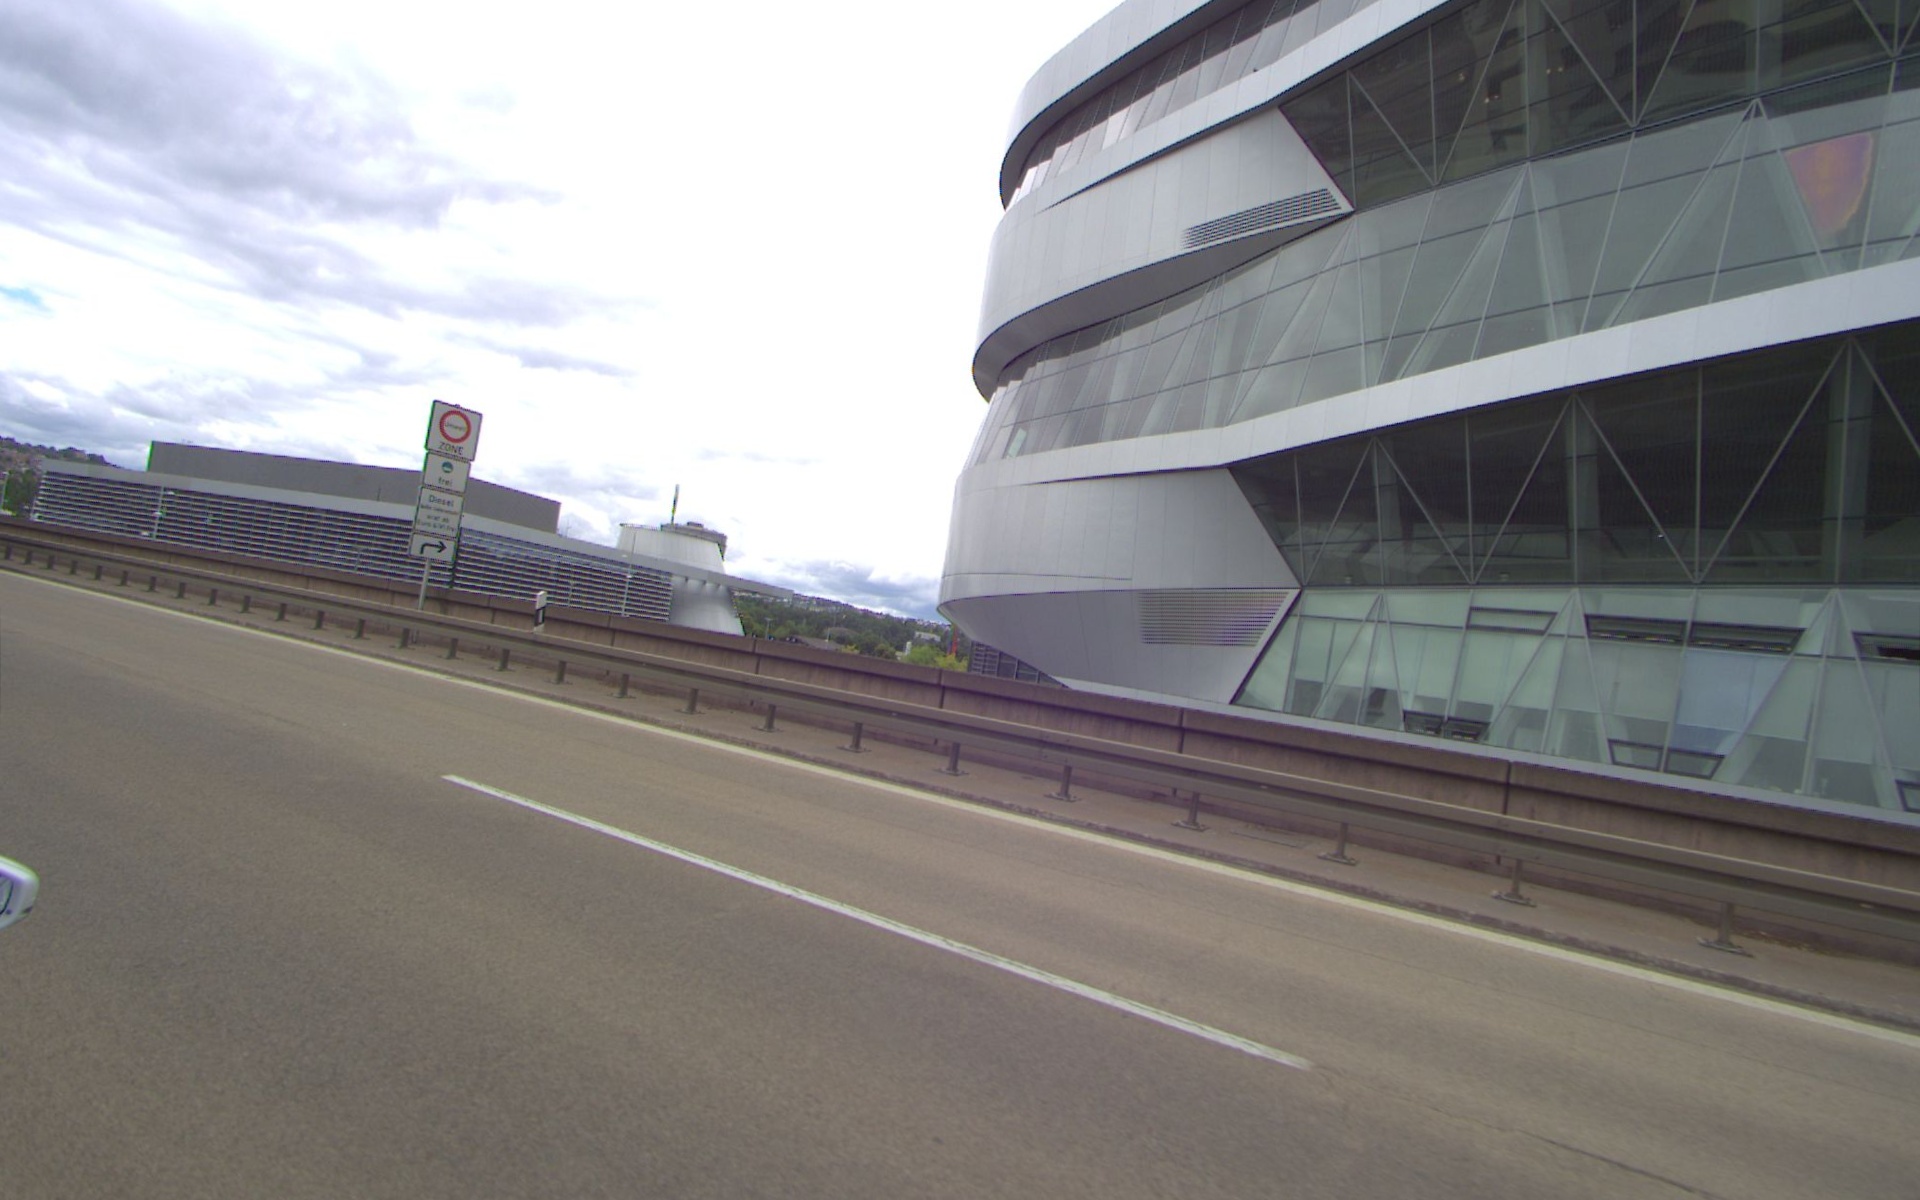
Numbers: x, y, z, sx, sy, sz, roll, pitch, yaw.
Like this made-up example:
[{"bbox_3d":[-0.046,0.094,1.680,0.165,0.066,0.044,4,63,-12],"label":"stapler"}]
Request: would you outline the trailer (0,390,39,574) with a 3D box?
[{"bbox_3d":[-24.422,-2.991,22.383,8.161,3.833,3.065,6,-2,29],"label":"trailer"}]
